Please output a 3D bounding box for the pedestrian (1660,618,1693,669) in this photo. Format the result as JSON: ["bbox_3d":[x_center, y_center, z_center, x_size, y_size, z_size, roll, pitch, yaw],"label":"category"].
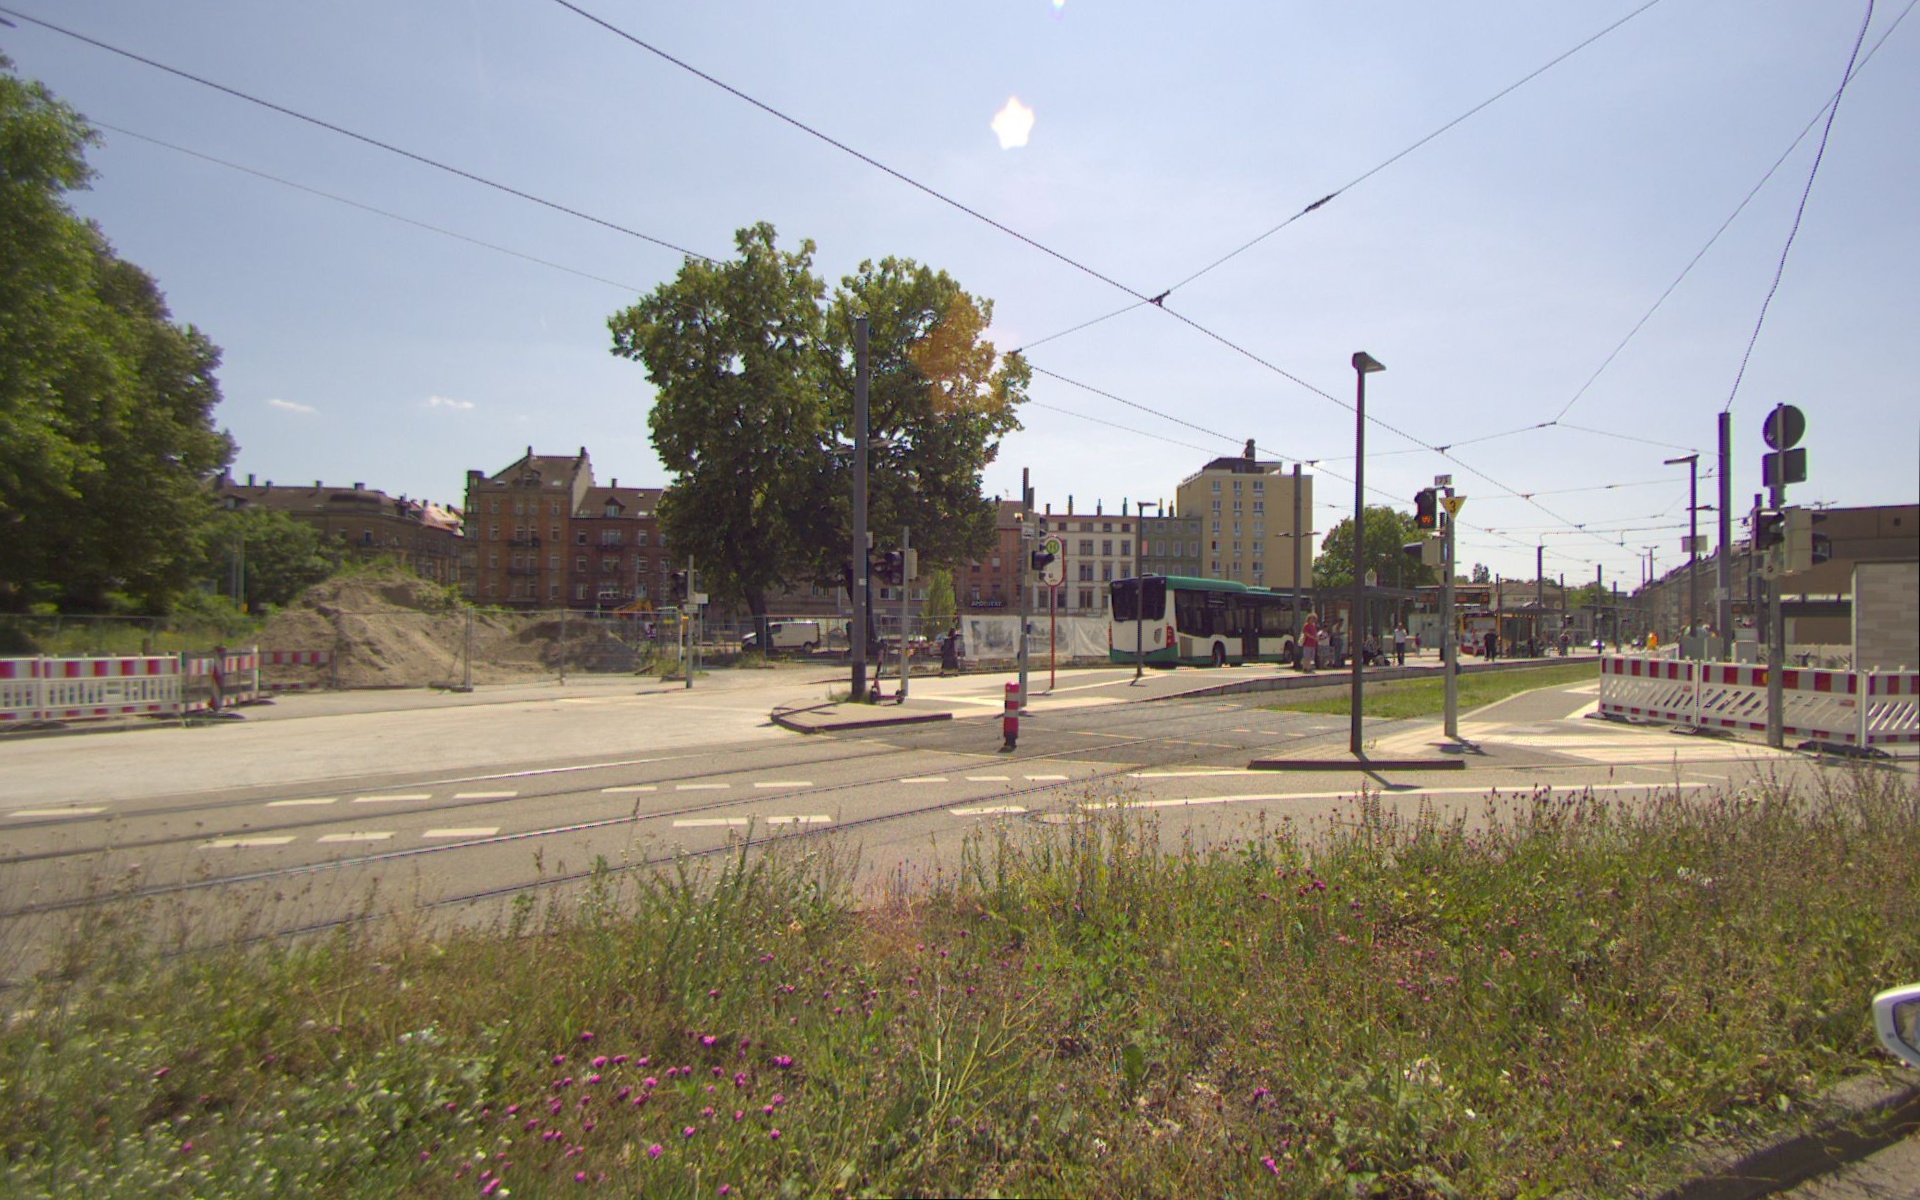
[{"bbox_3d":[24.616,1.493,34.522,0.714,1.729,0.744,1,-2,16],"label":"pedestrian"}]

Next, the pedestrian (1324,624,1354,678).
[{"bbox_3d":[13.424,1.789,35.579,0.899,1.876,0.656,-1,-2,32],"label":"pedestrian"}]

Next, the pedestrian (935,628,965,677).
[{"bbox_3d":[-0.331,1.739,33.415,0.819,1.623,0.601,2,-2,-39],"label":"pedestrian"}]

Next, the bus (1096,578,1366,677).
[{"bbox_3d":[11.468,1.158,39.792,2.976,3.199,17.407,-1,-2,41],"label":"bus"}]

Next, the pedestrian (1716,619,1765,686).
[{"bbox_3d":[22.102,1.475,28.469,0.962,1.856,0.633,-1,-2,27],"label":"pedestrian"}]

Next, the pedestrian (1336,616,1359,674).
[{"bbox_3d":[14.234,1.649,36.905,0.689,2.124,0.643,-1,-2,30],"label":"pedestrian"}]

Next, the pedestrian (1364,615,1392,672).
[{"bbox_3d":[15.900,1.658,38.205,0.886,2.124,0.830,-1,-2,30],"label":"pedestrian"}]

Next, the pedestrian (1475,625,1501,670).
[{"bbox_3d":[25.282,2.277,48.115,0.826,2.124,0.890,2,-2,-44],"label":"pedestrian"}]

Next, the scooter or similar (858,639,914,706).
[{"bbox_3d":[-1.394,1.358,19.019,0.314,1.222,1.244,-1,-2,36],"label":"scooter or similar"}]

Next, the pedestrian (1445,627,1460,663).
[{"bbox_3d":[29.608,2.708,60.436,0.693,2.139,0.657,0,-2,17],"label":"pedestrian"}]

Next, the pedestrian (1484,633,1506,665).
[{"bbox_3d":[30.916,2.812,58.037,0.954,1.859,0.777,0,-2,17],"label":"pedestrian"}]

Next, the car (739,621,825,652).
[{"bbox_3d":[-11.204,2.299,63.358,4.977,1.909,2.102,1,-2,-29],"label":"car"}]

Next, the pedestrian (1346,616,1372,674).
[{"bbox_3d":[14.958,1.672,37.612,0.812,2.124,0.640,-1,-2,30],"label":"pedestrian"}]

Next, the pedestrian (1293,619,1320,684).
[{"bbox_3d":[10.455,1.538,30.312,0.663,1.934,0.639,-1,-2,32],"label":"pedestrian"}]

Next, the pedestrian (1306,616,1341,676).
[{"bbox_3d":[12.485,1.563,34.474,0.928,2.016,1.026,-1,-2,32],"label":"pedestrian"}]

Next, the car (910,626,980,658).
[{"bbox_3d":[-0.887,2.315,55.858,1.834,1.671,4.153,2,-2,-36],"label":"car"}]

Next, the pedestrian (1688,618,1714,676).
[{"bbox_3d":[25.730,1.634,34.883,0.709,1.948,1.071,0,-2,36],"label":"pedestrian"}]

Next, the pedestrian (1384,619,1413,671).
[{"bbox_3d":[18.398,1.876,42.149,0.826,2.124,0.890,2,-2,-44],"label":"pedestrian"}]

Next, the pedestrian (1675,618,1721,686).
[{"bbox_3d":[20.780,1.460,28.291,0.752,1.888,0.730,1,-2,1],"label":"pedestrian"}]

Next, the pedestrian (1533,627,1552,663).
[{"bbox_3d":[35.424,2.732,61.081,0.819,2.124,0.898,-1,-2,41],"label":"pedestrian"}]
